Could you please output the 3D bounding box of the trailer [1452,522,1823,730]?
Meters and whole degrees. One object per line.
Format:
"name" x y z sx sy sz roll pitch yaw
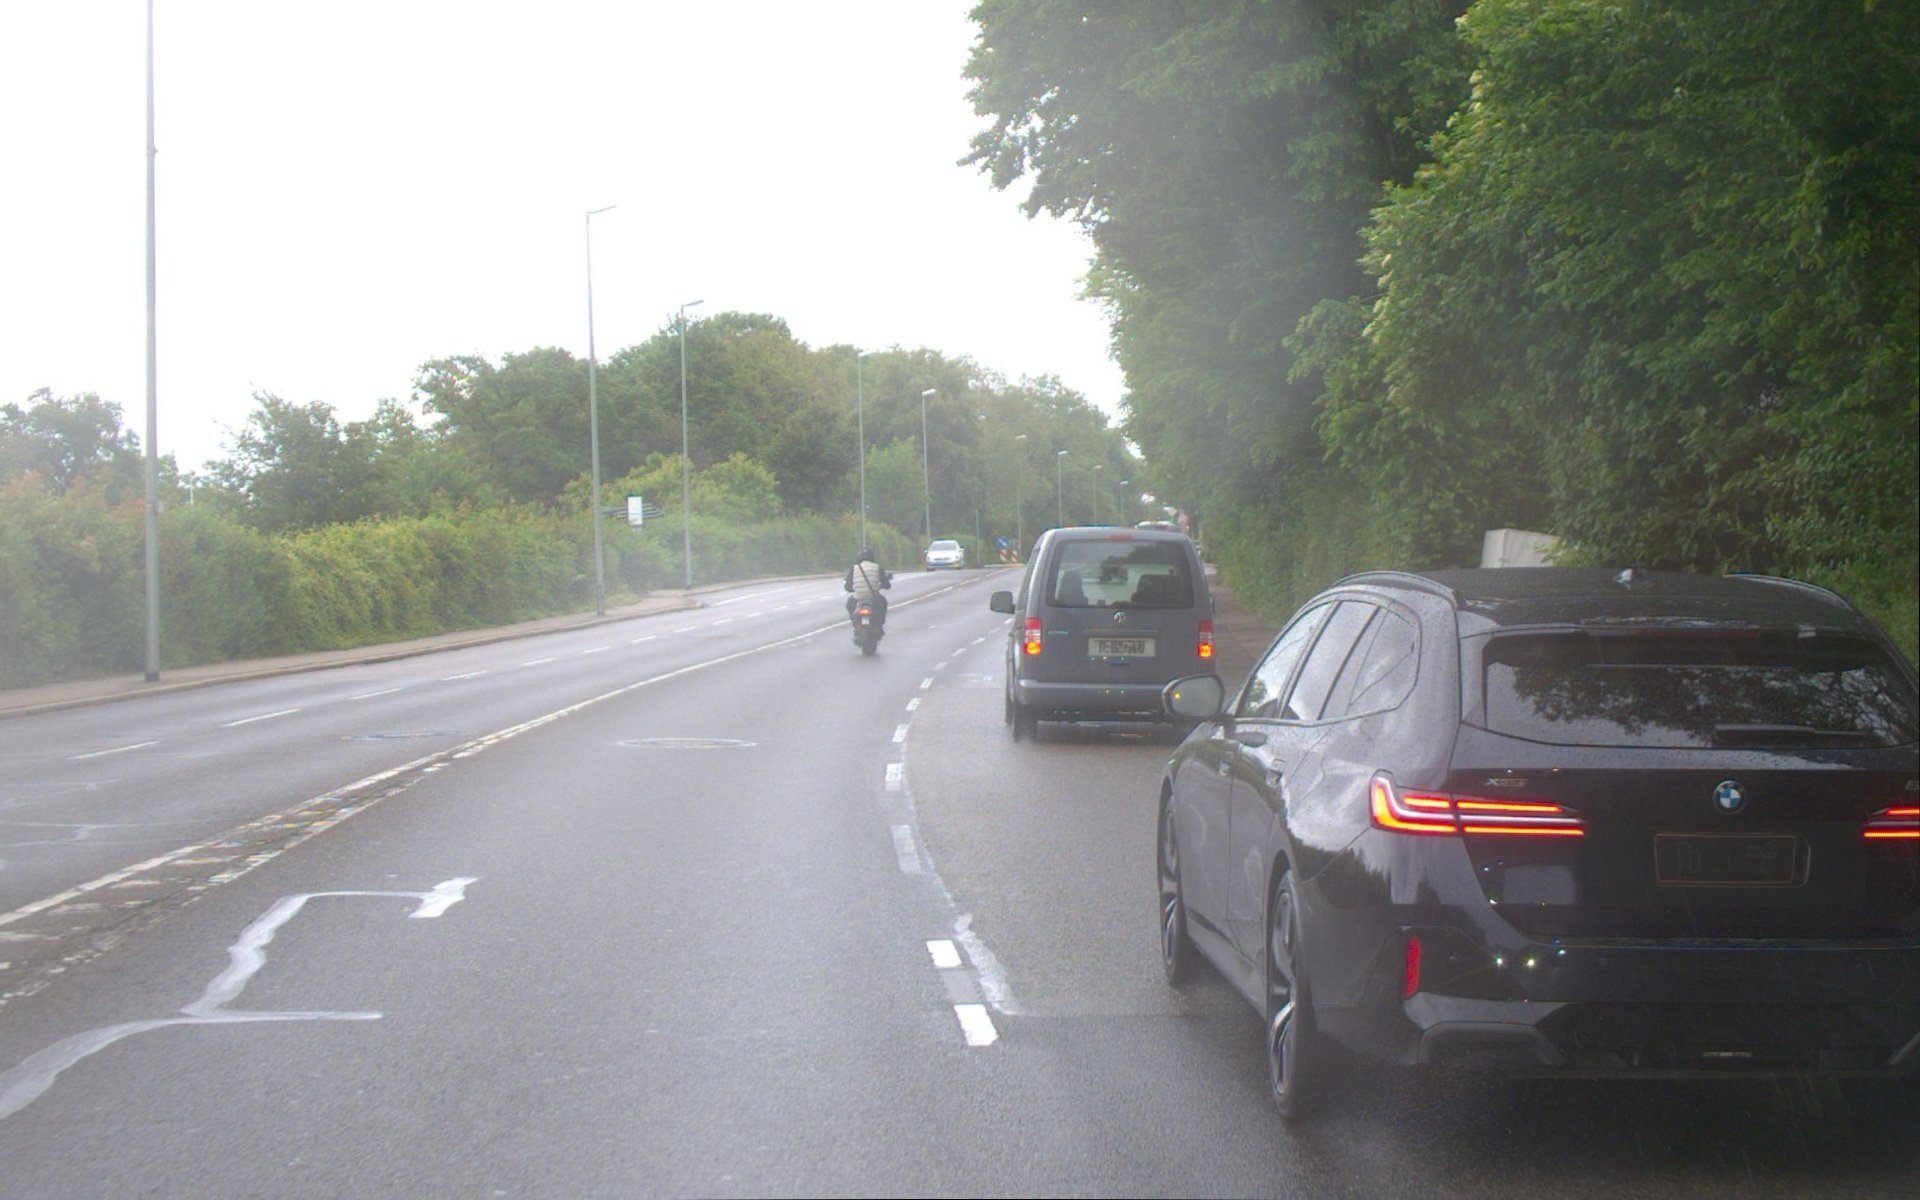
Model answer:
"trailer" 6.859 0.242 34.980 3.348 1.642 1.198 8 1 1

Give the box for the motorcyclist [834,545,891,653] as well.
"motorcyclist" -1.489 -0.023 52.639 0.845 1.641 0.468 0 2 2

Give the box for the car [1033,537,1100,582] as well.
"car" 3.719 -1.420 119.272 2.015 1.410 4.486 1 2 5

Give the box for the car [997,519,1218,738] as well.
"car" 1.240 0.191 30.315 1.767 1.804 3.905 0 1 0

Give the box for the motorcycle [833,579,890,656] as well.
"motorcycle" -1.502 0.262 52.621 0.741 1.115 1.426 1 2 3

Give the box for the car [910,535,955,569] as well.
"car" -1.406 -2.444 175.746 1.748 1.656 3.856 1 2 -9

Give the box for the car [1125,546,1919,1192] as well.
"car" 1.644 0.640 10.132 1.764 1.531 3.673 2 0 -5
